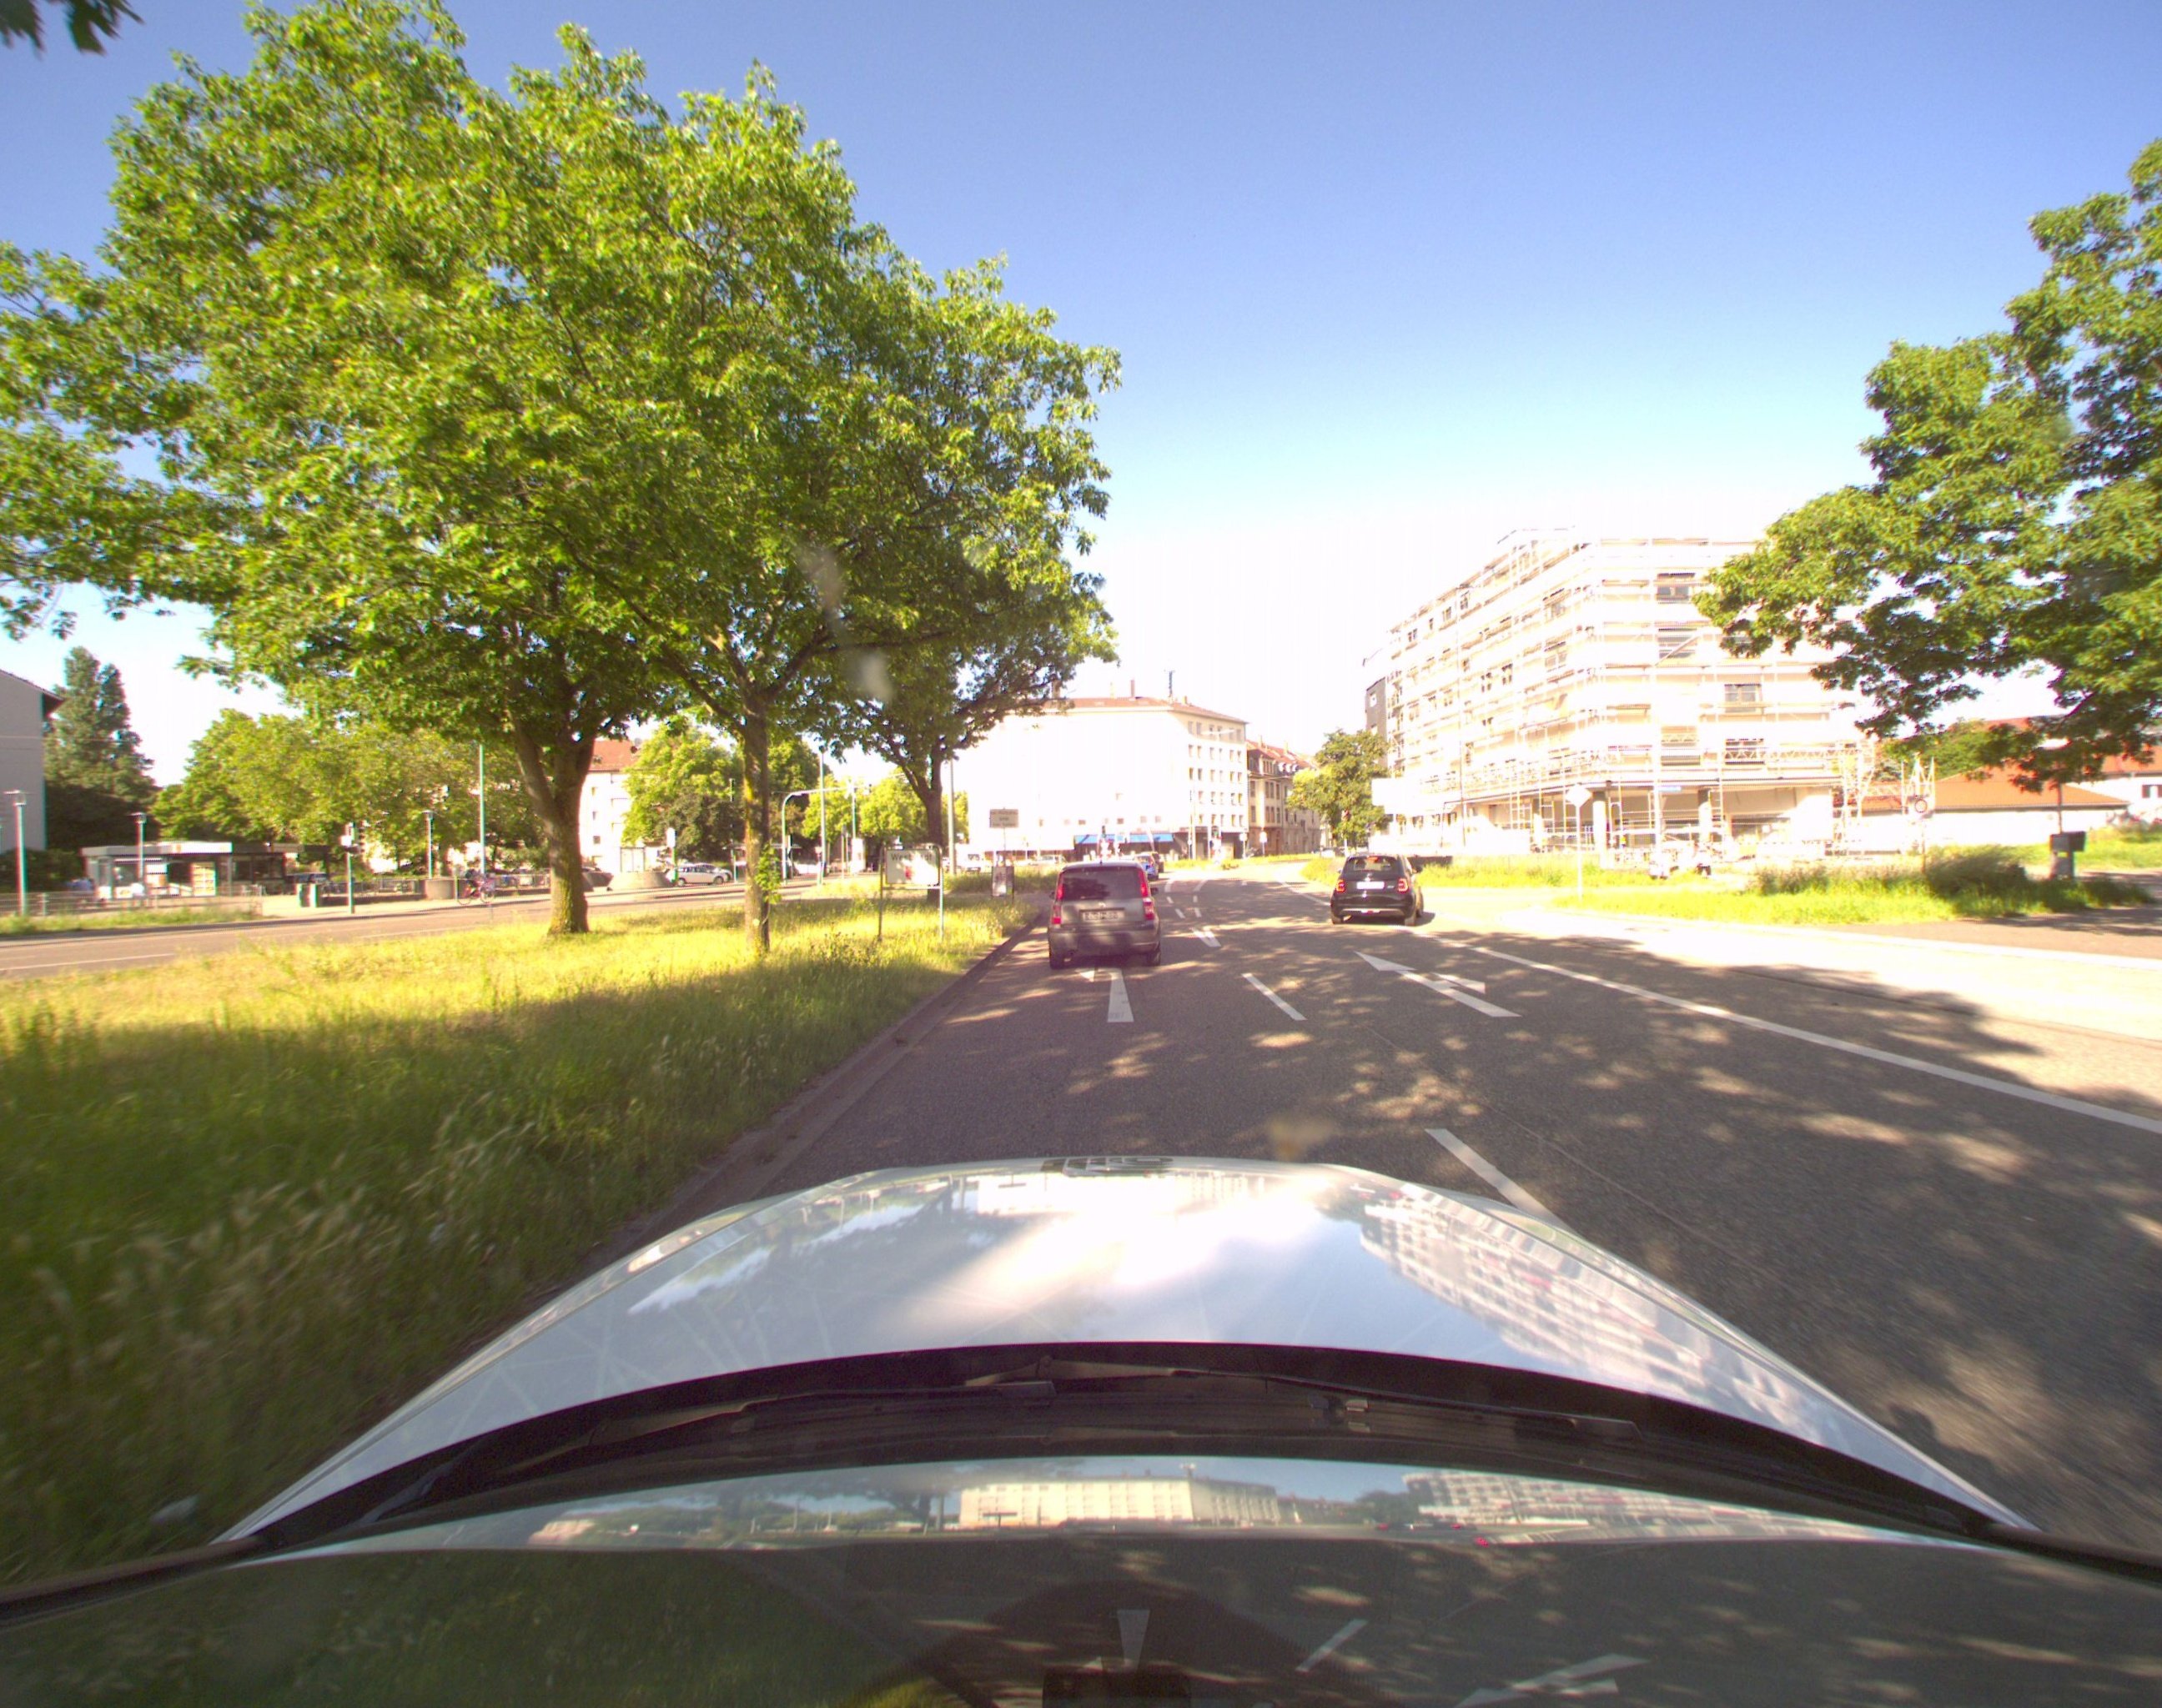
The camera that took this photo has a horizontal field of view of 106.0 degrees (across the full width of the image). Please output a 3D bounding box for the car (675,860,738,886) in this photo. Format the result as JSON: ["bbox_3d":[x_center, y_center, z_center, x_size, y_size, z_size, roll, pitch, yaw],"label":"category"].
[{"bbox_3d":[-28.282,1.422,61.606,1.741,1.717,4.025,2,2,28],"label":"car"}]

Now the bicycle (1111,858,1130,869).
[{"bbox_3d":[3.578,0.879,73.961,0.789,0.951,1.836,0,-1,-36],"label":"bicycle"}]

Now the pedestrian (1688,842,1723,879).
[{"bbox_3d":[25.858,0.257,33.729,0.649,1.497,0.907,-1,0,-7],"label":"pedestrian"}]

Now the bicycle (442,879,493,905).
[{"bbox_3d":[-26.955,1.652,35.802,0.606,1.001,1.669,0,1,29],"label":"bicycle"}]

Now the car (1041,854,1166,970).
[{"bbox_3d":[0.385,0.789,12.655,1.653,1.510,3.254,-2,0,3],"label":"car"}]

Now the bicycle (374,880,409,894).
[{"bbox_3d":[-44.142,2.121,52.132,1.695,0.839,0.541,-1,0,-42],"label":"bicycle"}]

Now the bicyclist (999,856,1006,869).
[{"bbox_3d":[-8.042,0.895,83.314,0.597,1.357,0.529,-1,0,-15],"label":"bicyclist"}]

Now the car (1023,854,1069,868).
[{"bbox_3d":[-3.286,0.656,76.958,3.948,1.243,2.013,-1,0,37],"label":"car"}]

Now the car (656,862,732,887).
[{"bbox_3d":[-27.669,1.459,58.383,1.849,1.544,4.576,2,2,44],"label":"car"}]

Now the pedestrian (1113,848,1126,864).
[{"bbox_3d":[3.535,0.216,74.046,0.779,1.427,0.928,1,-1,-35],"label":"pedestrian"}]

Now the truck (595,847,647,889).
[{"bbox_3d":[-34.503,1.031,60.975,4.768,2.994,2.012,-1,1,43],"label":"truck"}]

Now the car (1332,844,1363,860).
[{"bbox_3d":[26.582,-0.228,81.178,1.802,1.508,4.026,-2,0,34],"label":"car"}]

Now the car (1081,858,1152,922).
[{"bbox_3d":[0.874,0.861,20.949,1.615,1.429,3.689,-2,0,1],"label":"car"}]

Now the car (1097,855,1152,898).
[{"bbox_3d":[1.726,0.809,31.106,1.750,1.486,4.302,-2,0,7],"label":"car"}]

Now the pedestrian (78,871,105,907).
[{"bbox_3d":[-50.875,1.778,41.890,0.553,1.829,0.731,-1,0,22],"label":"pedestrian"}]

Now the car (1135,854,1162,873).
[{"bbox_3d":[4.674,0.681,56.751,1.684,1.253,3.628,-1,-1,3],"label":"car"}]

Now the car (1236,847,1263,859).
[{"bbox_3d":[20.026,-0.129,96.774,1.773,1.396,3.749,-1,0,36],"label":"car"}]

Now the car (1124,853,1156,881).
[{"bbox_3d":[3.251,0.698,44.972,1.639,1.438,3.399,-1,0,4],"label":"car"}]

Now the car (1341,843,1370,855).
[{"bbox_3d":[36.247,-0.650,107.576,1.906,1.594,3.984,-2,0,-12],"label":"car"}]

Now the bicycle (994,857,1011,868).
[{"bbox_3d":[-8.023,0.895,83.337,1.583,1.090,0.529,-2,0,-16],"label":"bicycle"}]

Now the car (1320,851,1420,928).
[{"bbox_3d":[6.255,0.709,17.929,1.663,1.503,3.575,-2,0,13],"label":"car"}]

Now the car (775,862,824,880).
[{"bbox_3d":[-26.862,1.627,77.783,3.979,1.572,1.997,-2,0,-4],"label":"car"}]

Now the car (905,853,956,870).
[{"bbox_3d":[-14.044,0.709,76.005,4.358,1.448,1.674,-1,0,12],"label":"car"}]

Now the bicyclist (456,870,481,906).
[{"bbox_3d":[-26.948,1.496,35.827,0.606,1.530,0.680,0,1,29],"label":"bicyclist"}]

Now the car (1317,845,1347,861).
[{"bbox_3d":[23.761,-0.128,77.083,1.757,1.442,3.642,-1,1,33],"label":"car"}]

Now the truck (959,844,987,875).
[{"bbox_3d":[-9.051,0.464,68.054,1.791,2.427,4.089,-1,0,-15],"label":"truck"}]
